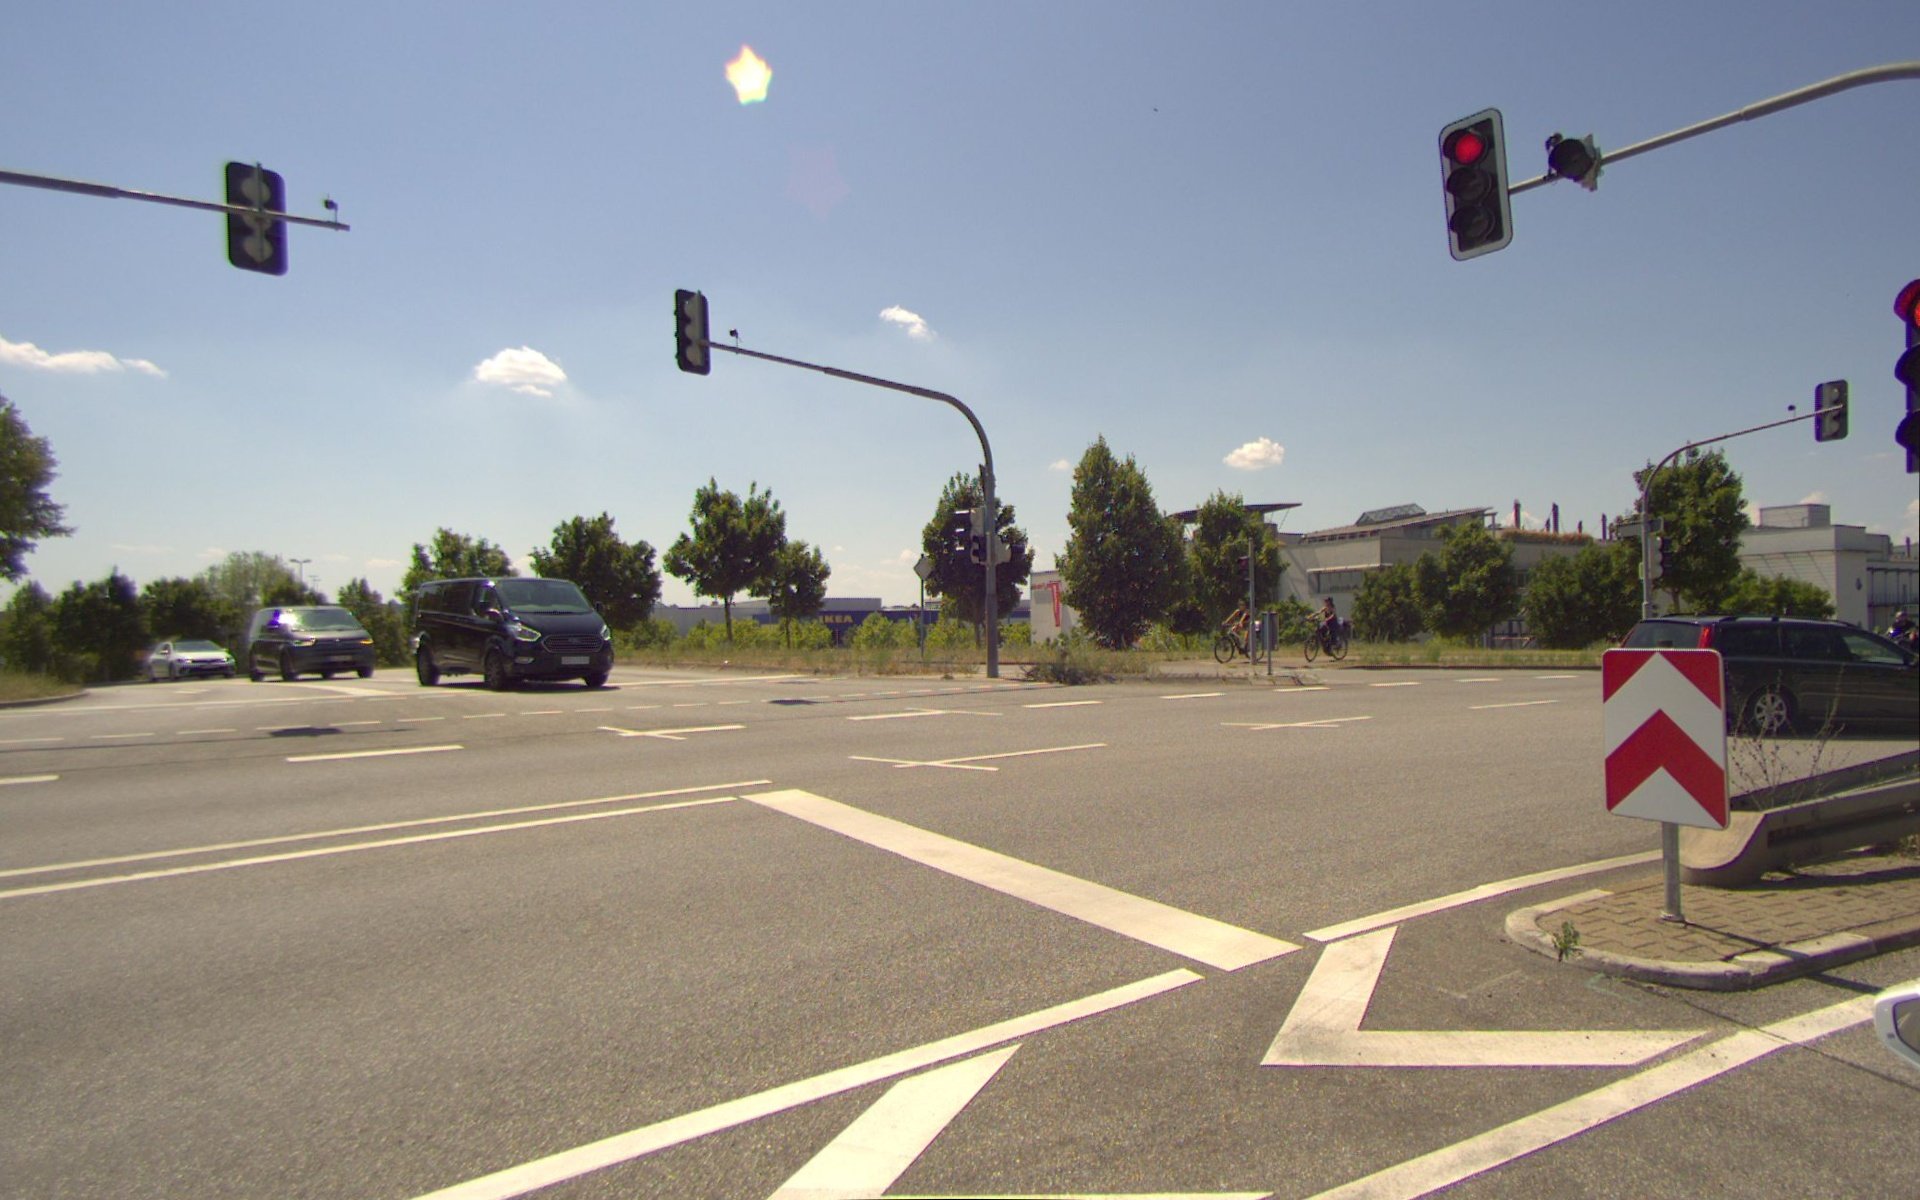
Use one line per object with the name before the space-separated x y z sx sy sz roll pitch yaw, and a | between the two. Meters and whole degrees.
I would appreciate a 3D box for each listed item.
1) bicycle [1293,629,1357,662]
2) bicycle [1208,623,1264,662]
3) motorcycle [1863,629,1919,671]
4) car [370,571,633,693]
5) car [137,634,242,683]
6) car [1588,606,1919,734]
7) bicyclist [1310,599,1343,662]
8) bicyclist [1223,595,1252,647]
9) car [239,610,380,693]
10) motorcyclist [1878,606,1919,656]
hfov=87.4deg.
bicycle | 10.224 1.250 28.117 2.105 0.864 0.530 1 1 -34
bicycle | 7.753 1.178 28.188 1.812 1.038 0.411 1 1 -33
motorcycle | 25.297 1.342 27.034 2.251 1.094 0.561 1 -2 -22
car | -8.577 0.527 18.582 5.323 1.963 2.118 0 -1 36
car | -26.937 1.984 35.098 3.934 1.549 1.789 0 -1 35
car | 11.279 0.923 13.579 4.644 1.566 1.735 1 -1 -6
bicyclist | 10.256 0.849 28.118 0.723 1.741 0.526 1 1 -34
bicyclist | 7.794 0.592 28.193 0.677 1.423 0.405 1 0 -32
car | -16.852 1.324 25.947 4.468 1.944 1.935 -3 -3 42
motorcyclist | 25.404 0.839 27.098 0.713 1.320 0.673 1 -3 -22
